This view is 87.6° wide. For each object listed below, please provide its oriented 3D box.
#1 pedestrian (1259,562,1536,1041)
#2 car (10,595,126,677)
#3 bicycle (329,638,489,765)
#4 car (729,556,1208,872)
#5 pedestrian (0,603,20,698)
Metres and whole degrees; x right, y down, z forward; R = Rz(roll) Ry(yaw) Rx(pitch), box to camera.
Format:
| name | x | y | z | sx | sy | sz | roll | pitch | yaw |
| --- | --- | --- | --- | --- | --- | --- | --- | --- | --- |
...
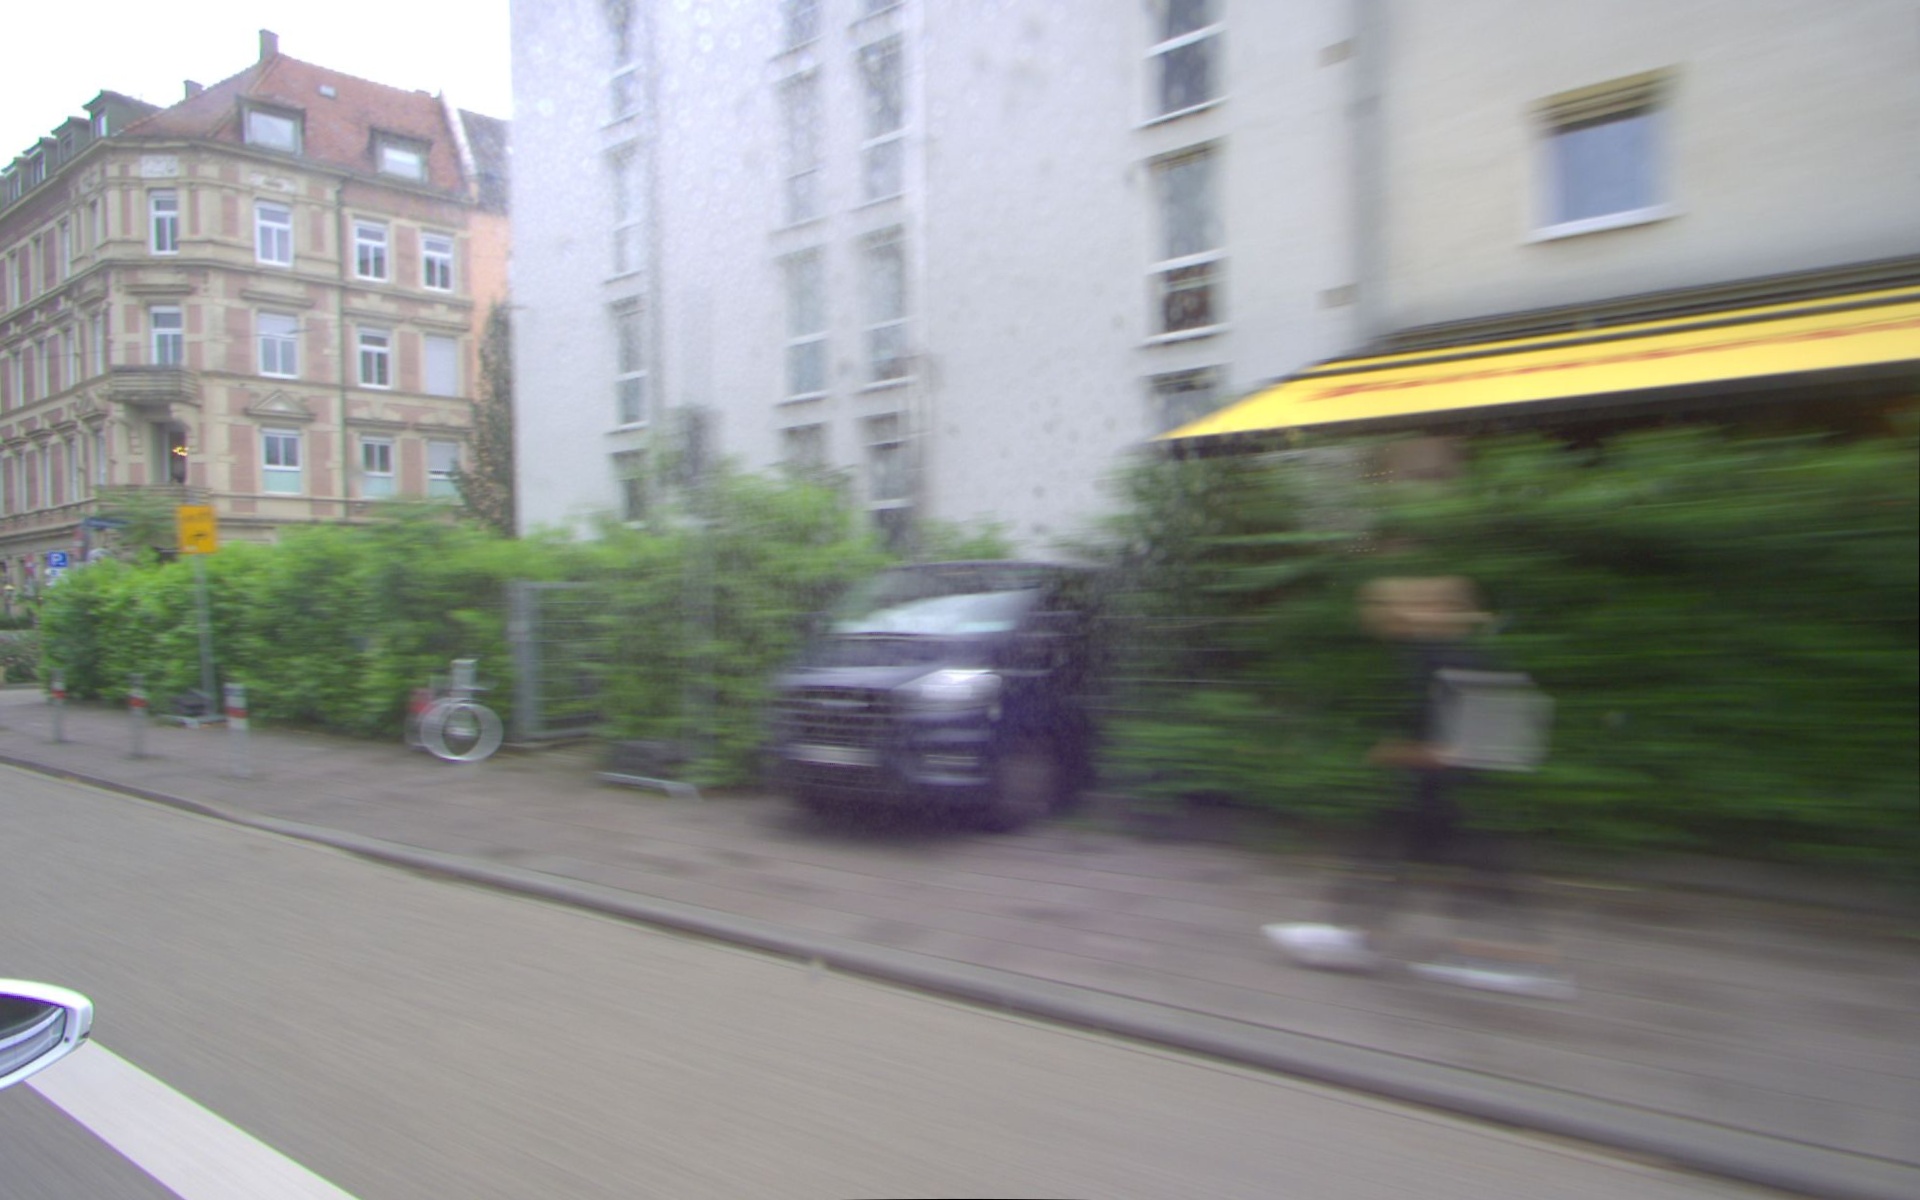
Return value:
| name | x | y | z | sx | sy | sz | roll | pitch | yaw |
| --- | --- | --- | --- | --- | --- | --- | --- | --- | --- |
| pedestrian | 1.773 | 0.714 | 4.038 | 0.946 | 1.694 | 0.622 | 0 | 3 | 32 |
| car | -22.980 | 0.859 | 25.836 | 2.037 | 1.902 | 4.983 | -1 | 0 | -42 |
| bicycle | -5.714 | 1.009 | 10.367 | 1.786 | 1.143 | 0.631 | 0 | 3 | 32 |
| car | 0.374 | 0.630 | 8.075 | 1.798 | 1.833 | 4.268 | 0 | 1 | 34 |
| pedestrian | -17.365 | 0.901 | 17.751 | 0.824 | 1.658 | 0.791 | -1 | 2 | 33 |
